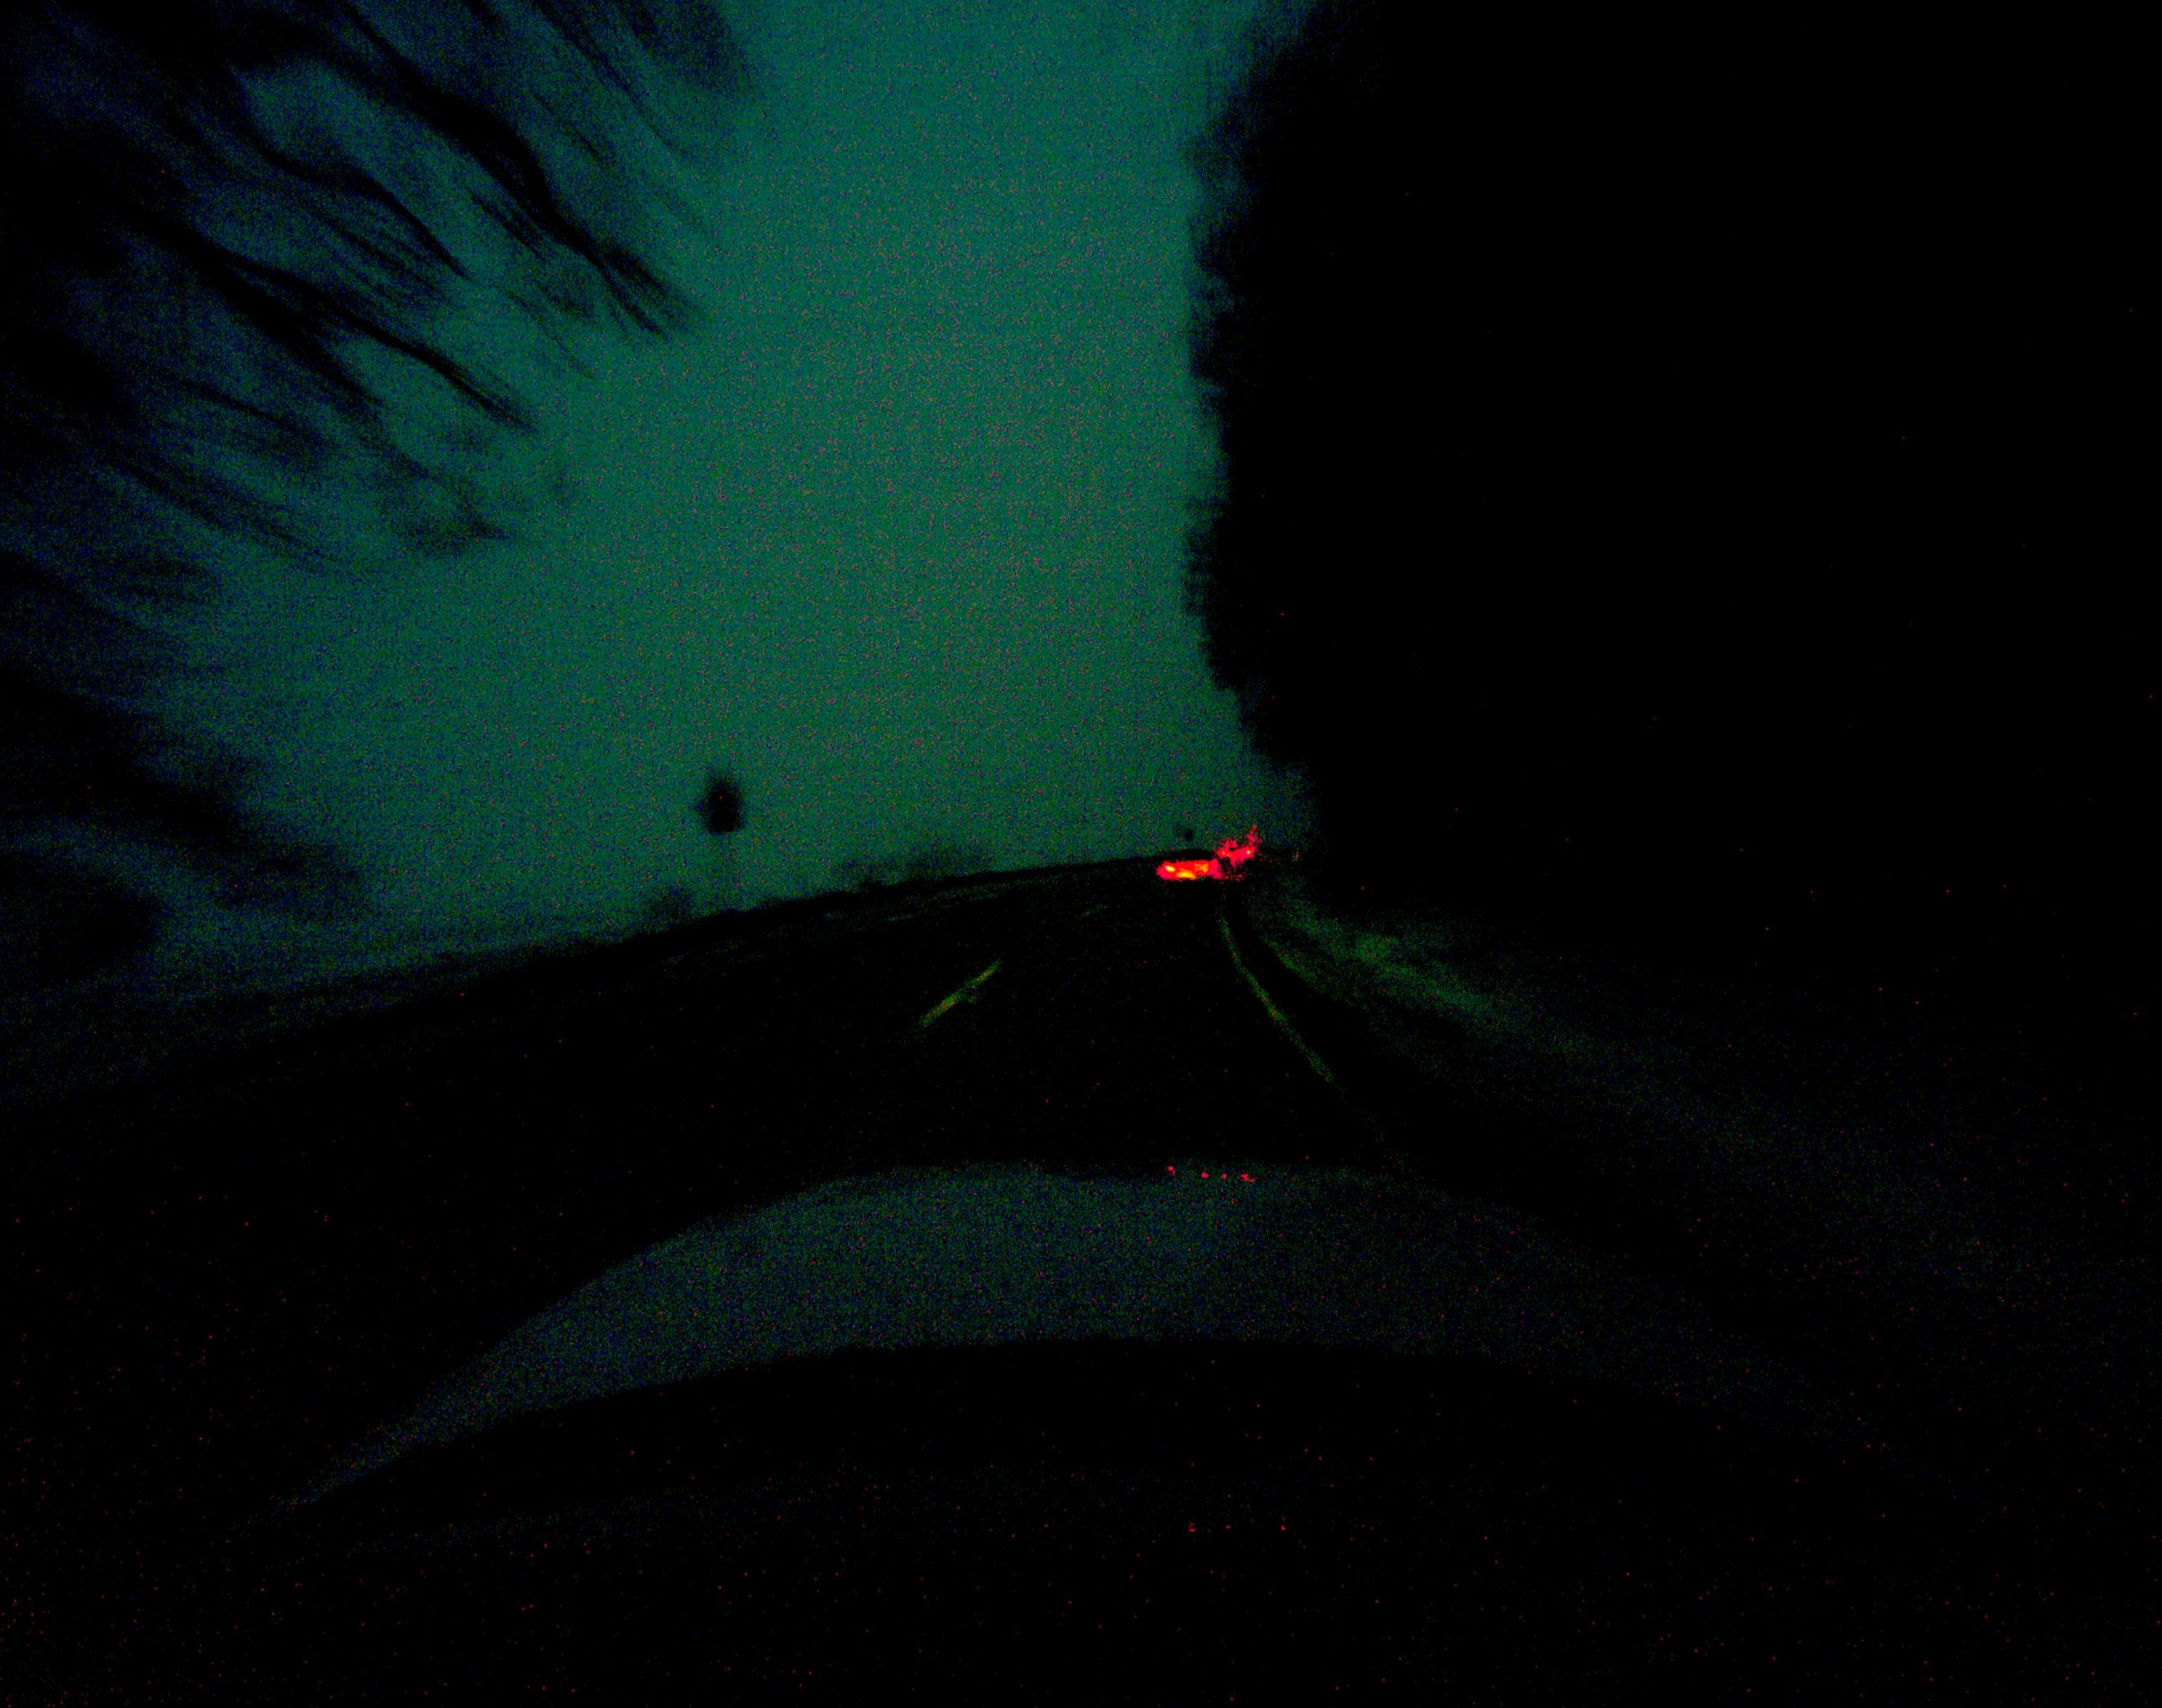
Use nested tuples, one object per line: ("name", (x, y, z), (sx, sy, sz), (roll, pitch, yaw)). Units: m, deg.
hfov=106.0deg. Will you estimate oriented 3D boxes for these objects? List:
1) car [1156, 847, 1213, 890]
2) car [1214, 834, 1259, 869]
("car", (4.203, 0.548, 32.510), (1.933, 1.381, 4.013), (-4, 1, 11))
("car", (8.554, -0.183, 44.595), (1.978, 1.782, 4.017), (-2, 1, 16))
